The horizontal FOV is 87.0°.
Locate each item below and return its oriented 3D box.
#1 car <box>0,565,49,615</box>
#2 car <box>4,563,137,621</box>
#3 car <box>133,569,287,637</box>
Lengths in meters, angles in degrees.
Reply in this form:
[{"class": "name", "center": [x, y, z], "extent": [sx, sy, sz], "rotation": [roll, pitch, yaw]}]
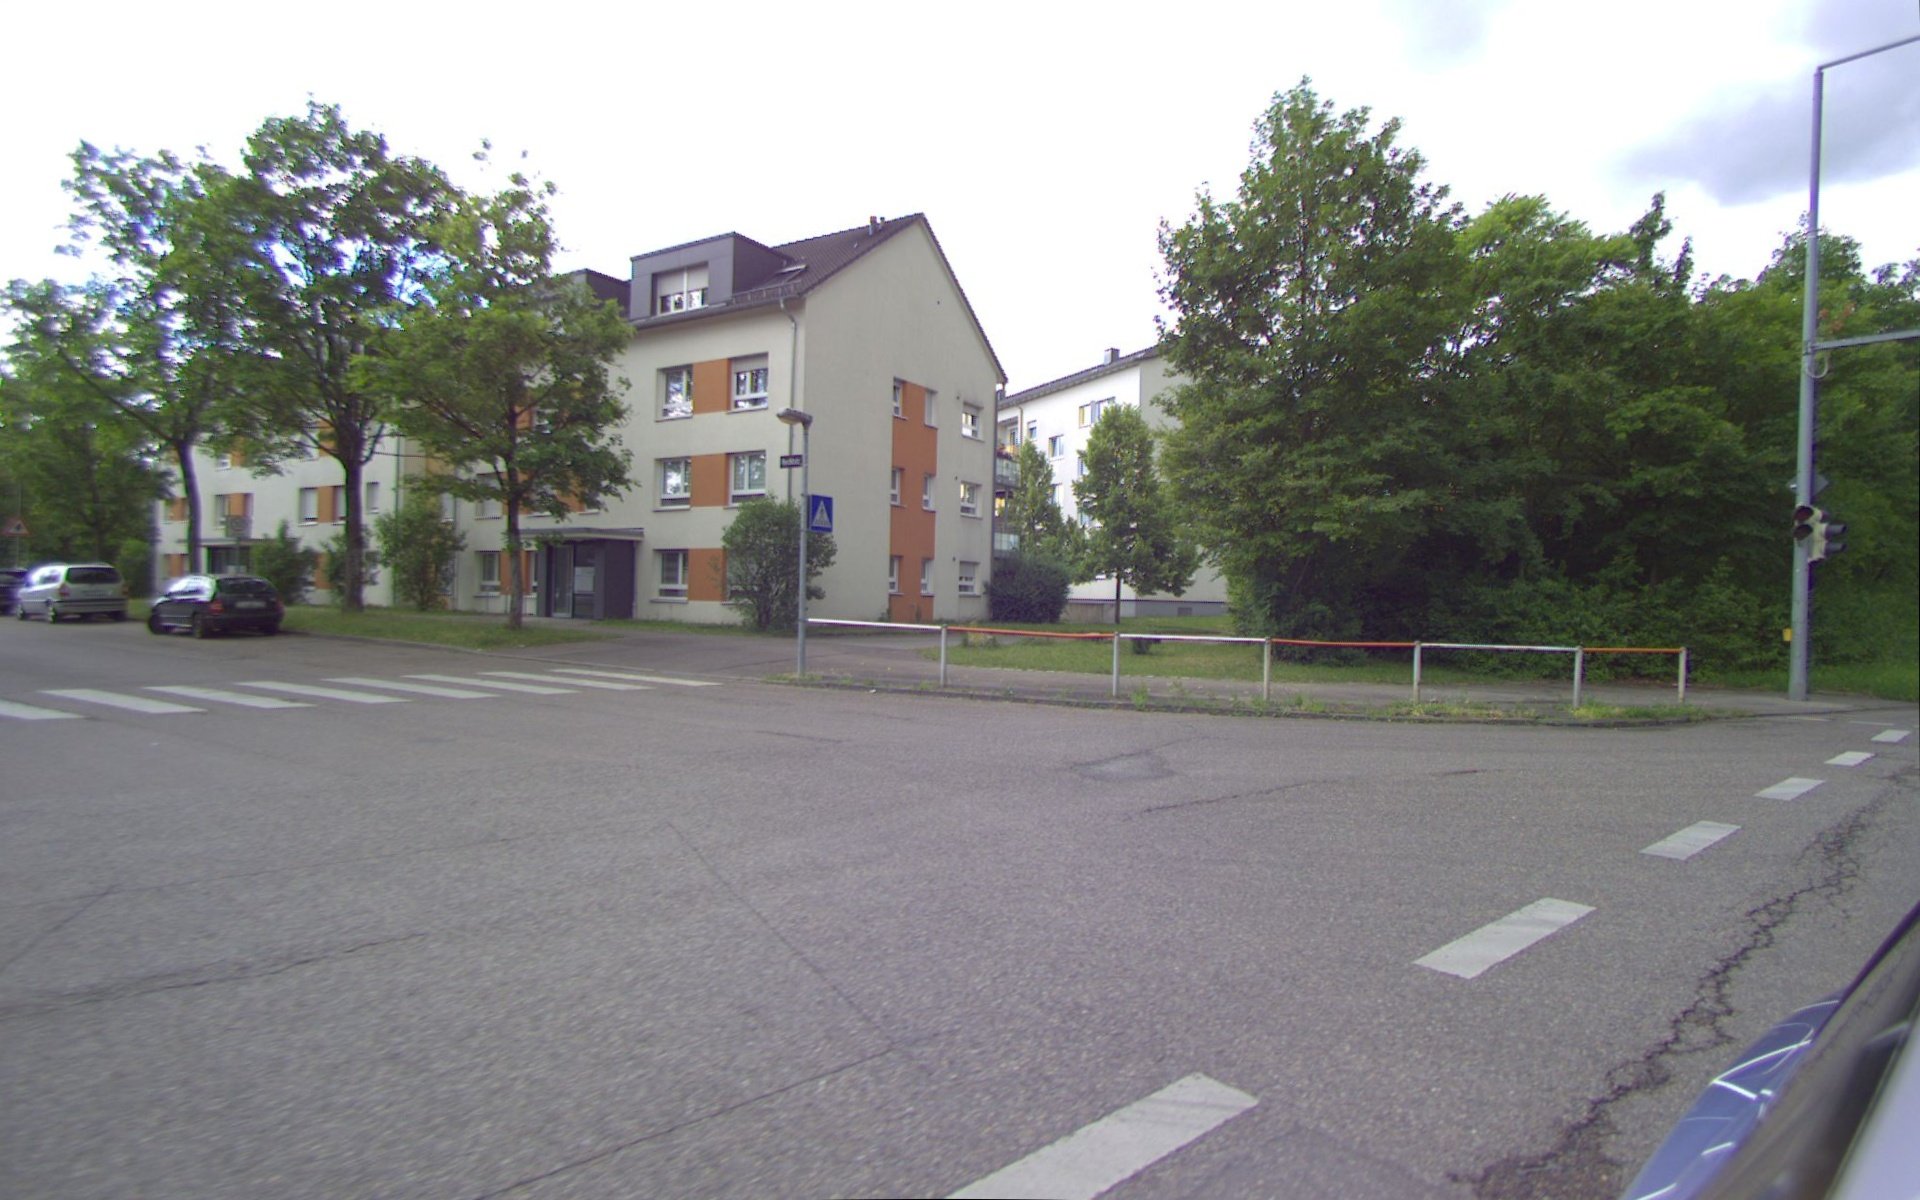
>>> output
[{"class": "car", "center": [-31.176, -0.335, 32.444], "extent": [3.923, 1.533, 1.773], "rotation": [1, 1, 30]}, {"class": "car", "center": [-25.772, -0.254, 29.313], "extent": [3.967, 1.594, 1.773], "rotation": [1, 1, 31]}, {"class": "car", "center": [-17.709, 0.028, 23.875], "extent": [3.742, 1.483, 1.620], "rotation": [1, 1, 31]}]
